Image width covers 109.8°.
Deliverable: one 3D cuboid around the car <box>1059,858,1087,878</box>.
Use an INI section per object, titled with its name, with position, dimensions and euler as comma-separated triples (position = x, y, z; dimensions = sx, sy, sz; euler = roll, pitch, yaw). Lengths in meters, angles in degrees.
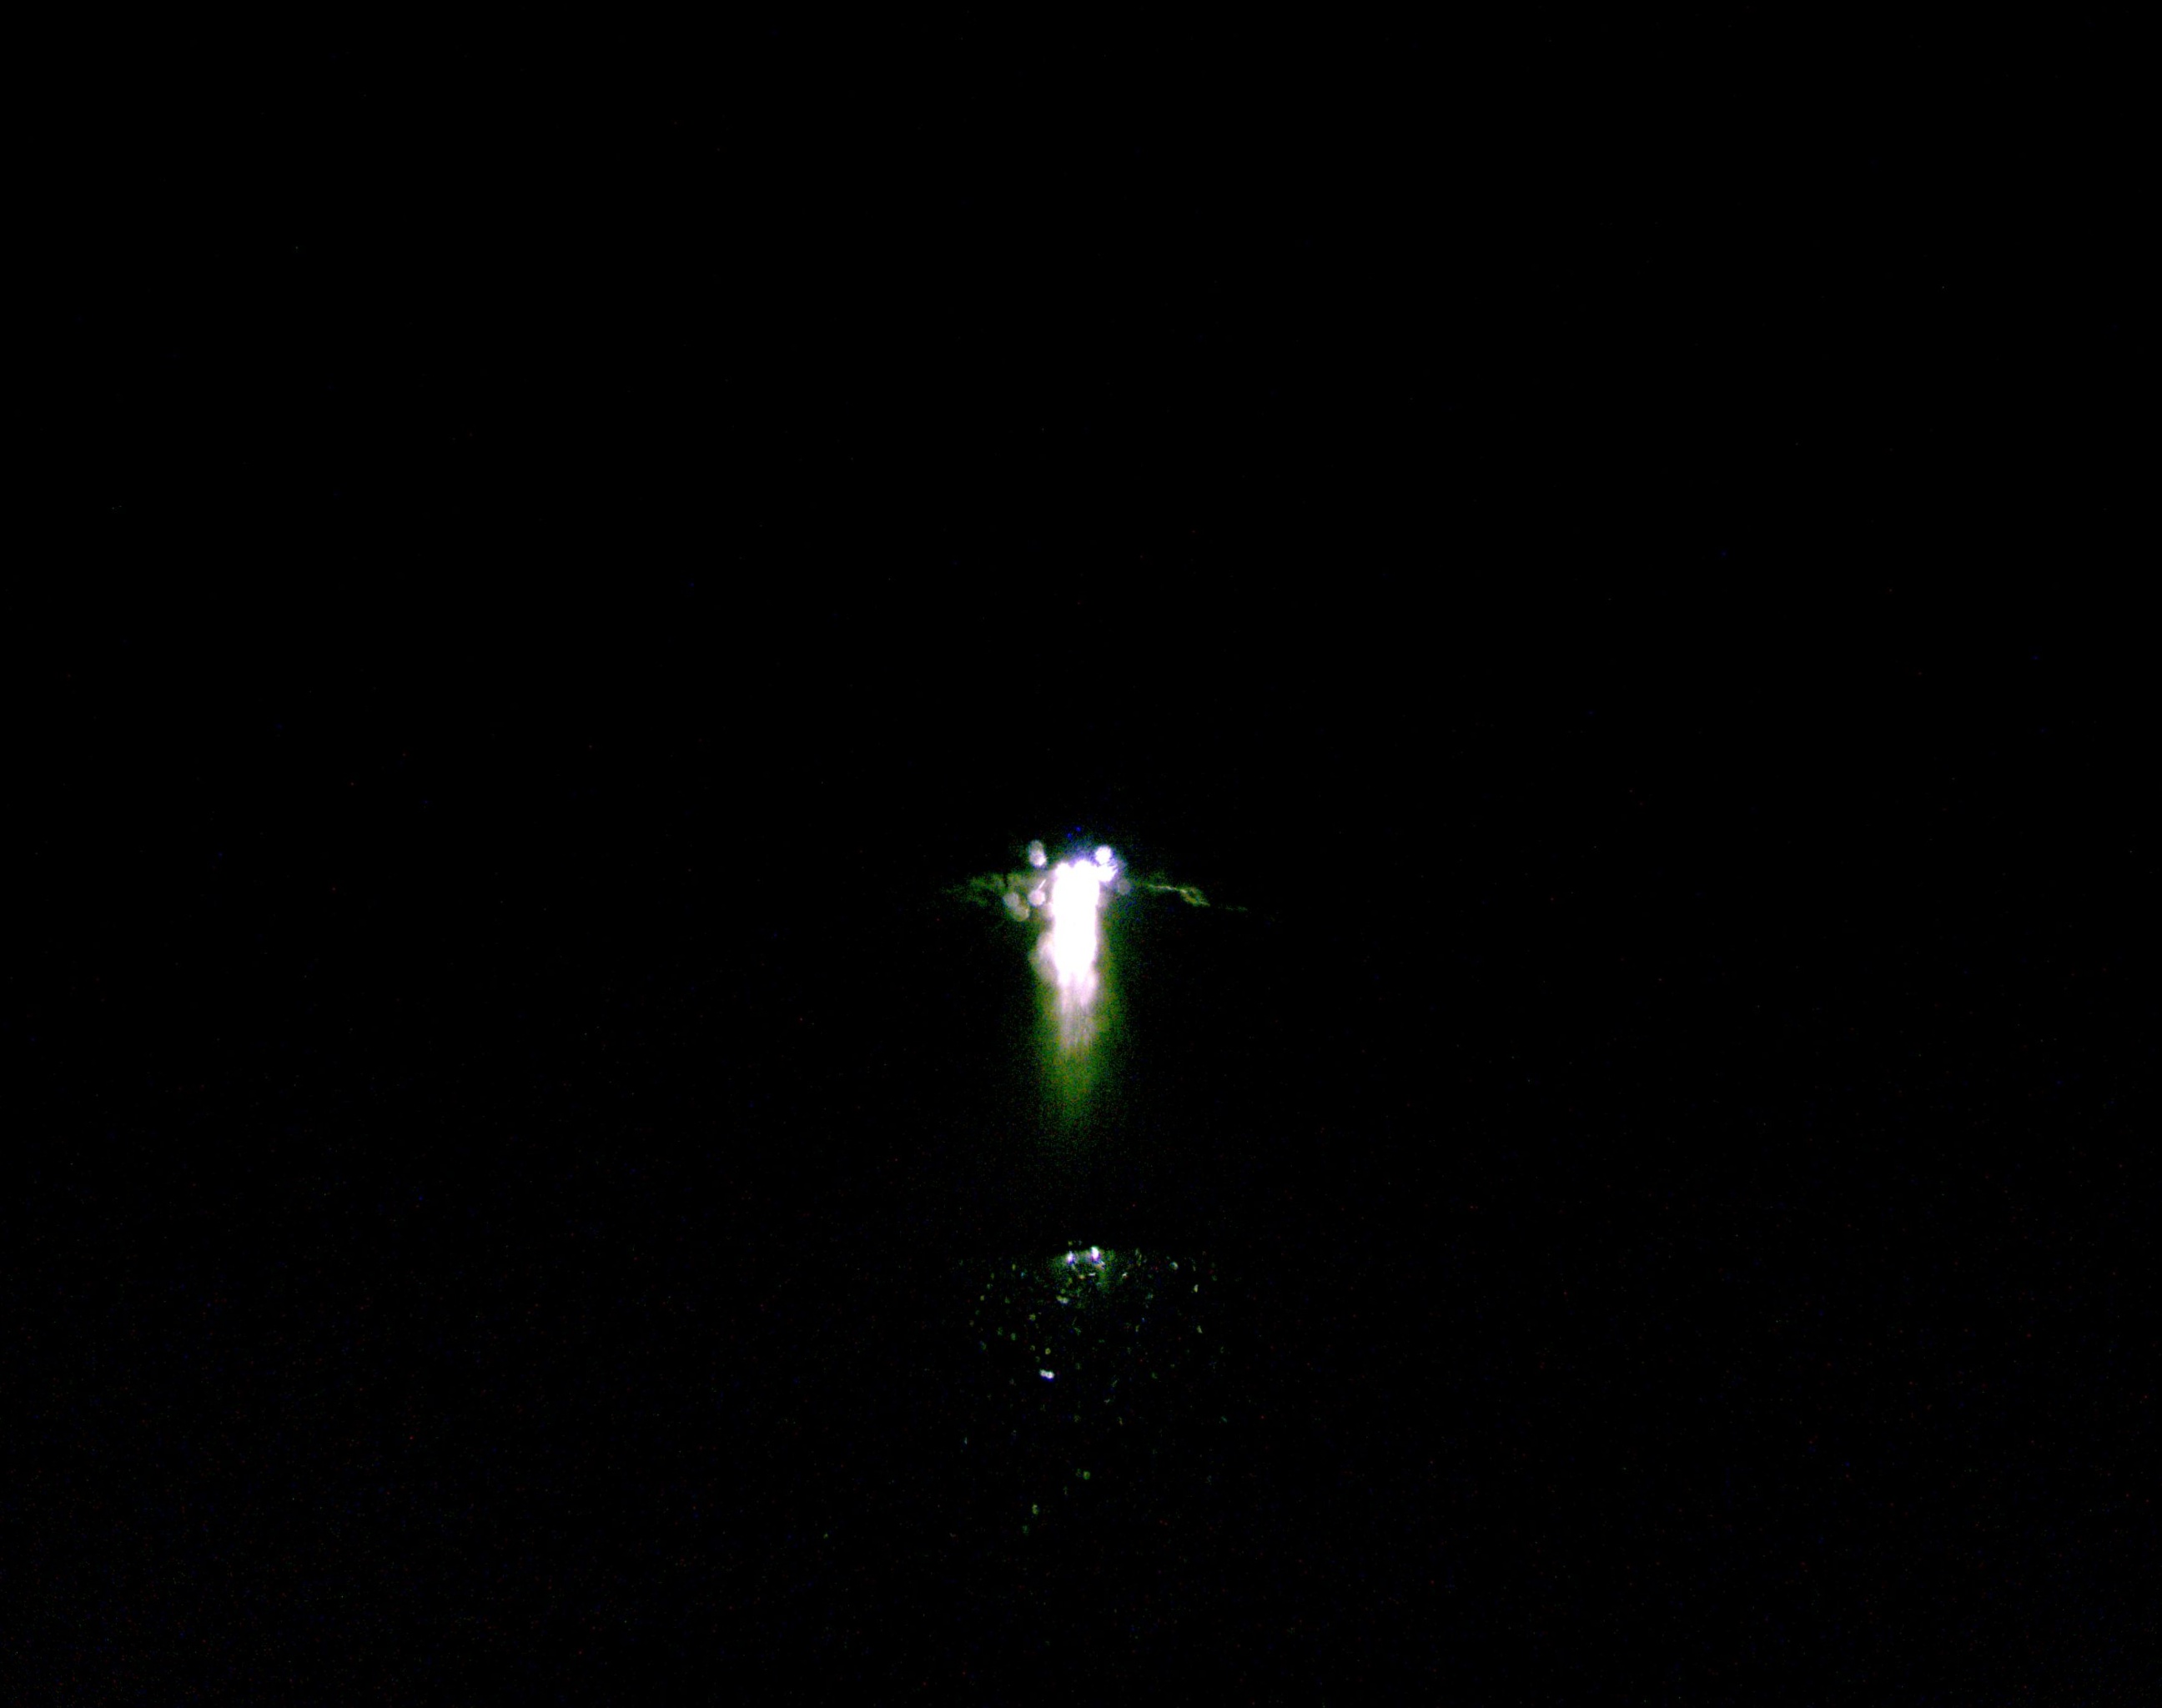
[car]
position = -0.585, 1.031, 57.909
dimensions = 1.999, 1.412, 3.999
euler = -1, 1, 0
